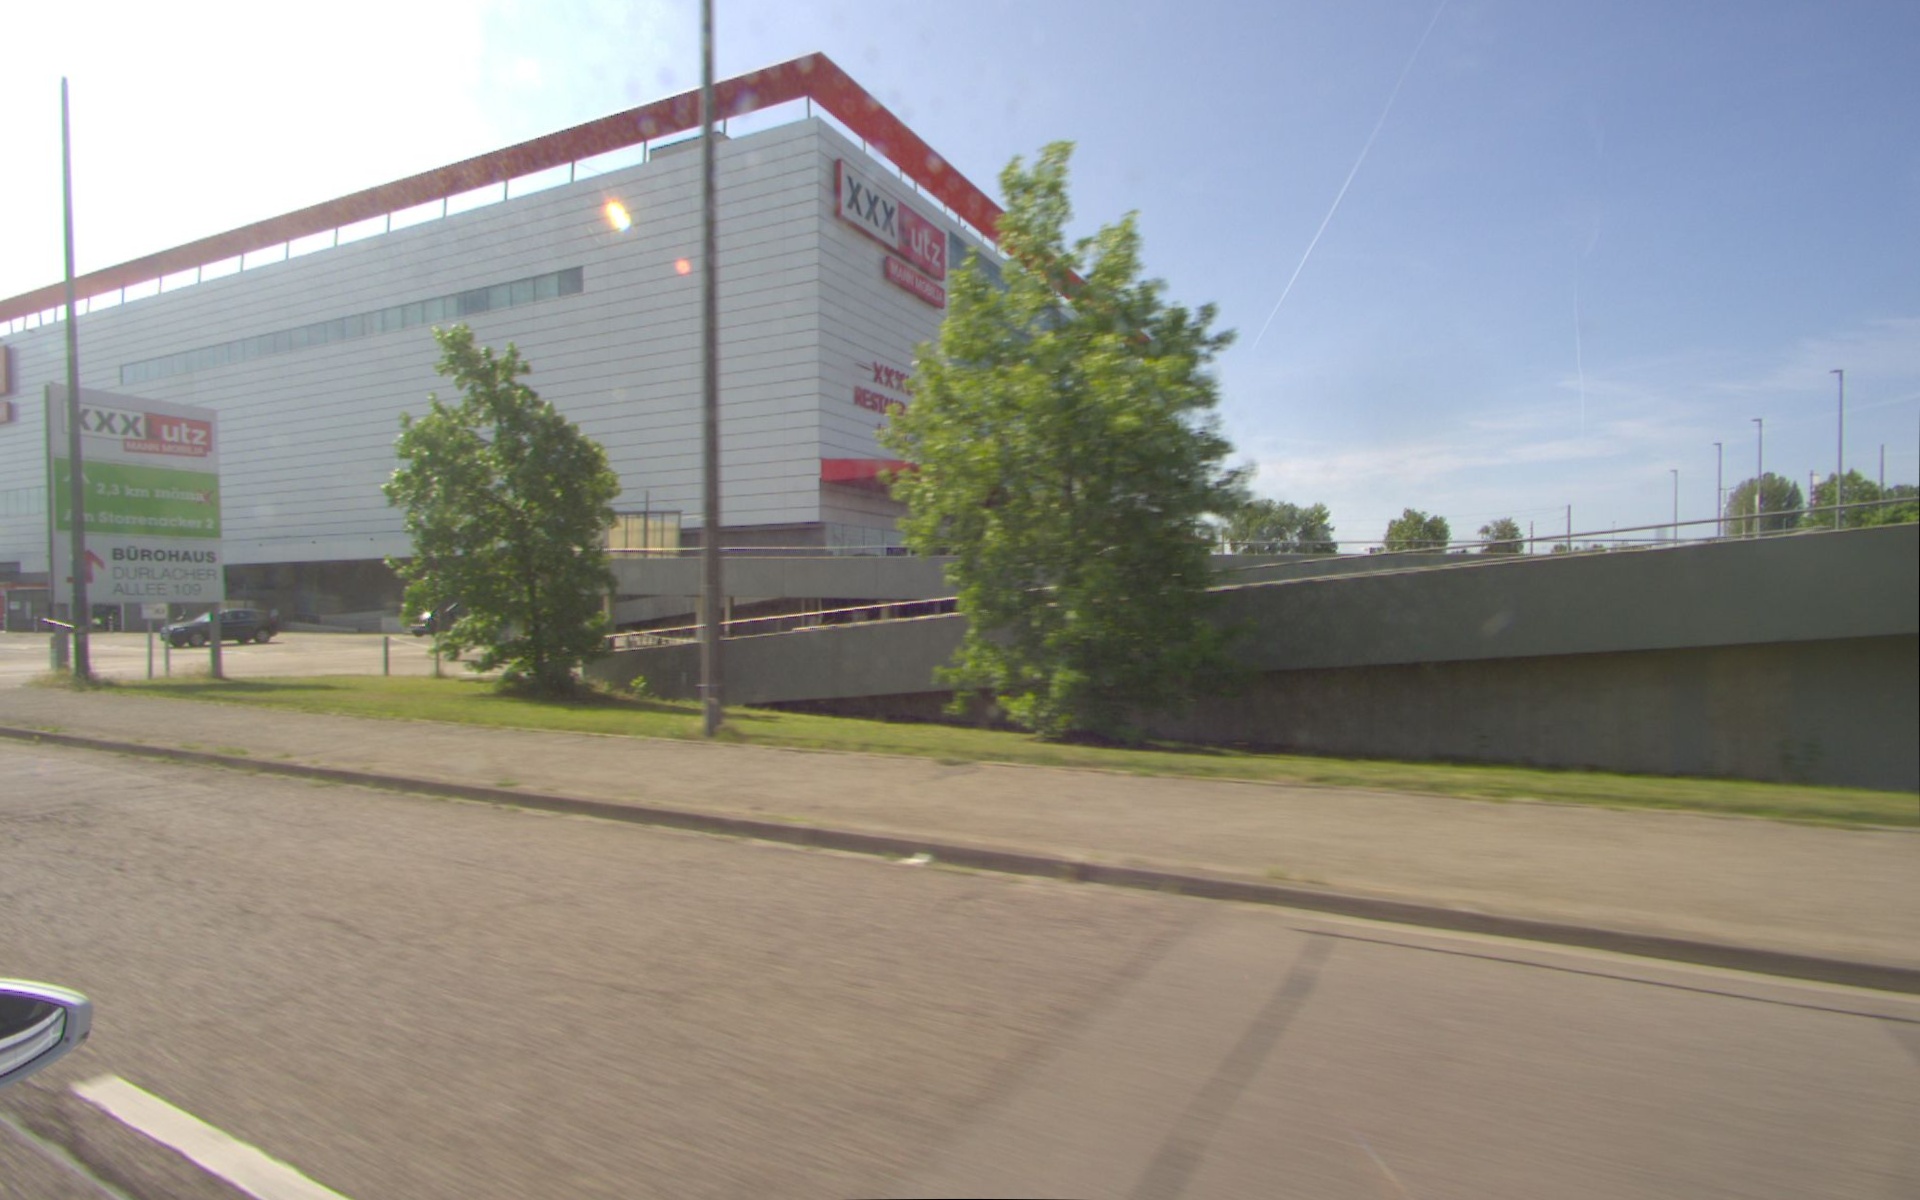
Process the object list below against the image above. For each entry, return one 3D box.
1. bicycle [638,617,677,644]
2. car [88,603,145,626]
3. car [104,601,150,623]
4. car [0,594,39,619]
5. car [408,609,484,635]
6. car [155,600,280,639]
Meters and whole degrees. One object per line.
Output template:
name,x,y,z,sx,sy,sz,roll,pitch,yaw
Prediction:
bicycle,-12.397,1.229,40.983,1.682,1.074,0.511,1,0,29
car,-57.750,0.967,68.573,4.031,1.529,1.671,0,-1,29
car,-60.204,0.865,72.400,3.204,1.487,1.509,1,-1,29
car,-78.604,0.517,82.153,1.749,1.954,4.185,1,-1,28
car,-28.767,1.256,56.143,1.577,1.394,3.518,1,-2,25
car,-35.195,0.883,47.599,1.807,1.636,4.421,1,2,25
